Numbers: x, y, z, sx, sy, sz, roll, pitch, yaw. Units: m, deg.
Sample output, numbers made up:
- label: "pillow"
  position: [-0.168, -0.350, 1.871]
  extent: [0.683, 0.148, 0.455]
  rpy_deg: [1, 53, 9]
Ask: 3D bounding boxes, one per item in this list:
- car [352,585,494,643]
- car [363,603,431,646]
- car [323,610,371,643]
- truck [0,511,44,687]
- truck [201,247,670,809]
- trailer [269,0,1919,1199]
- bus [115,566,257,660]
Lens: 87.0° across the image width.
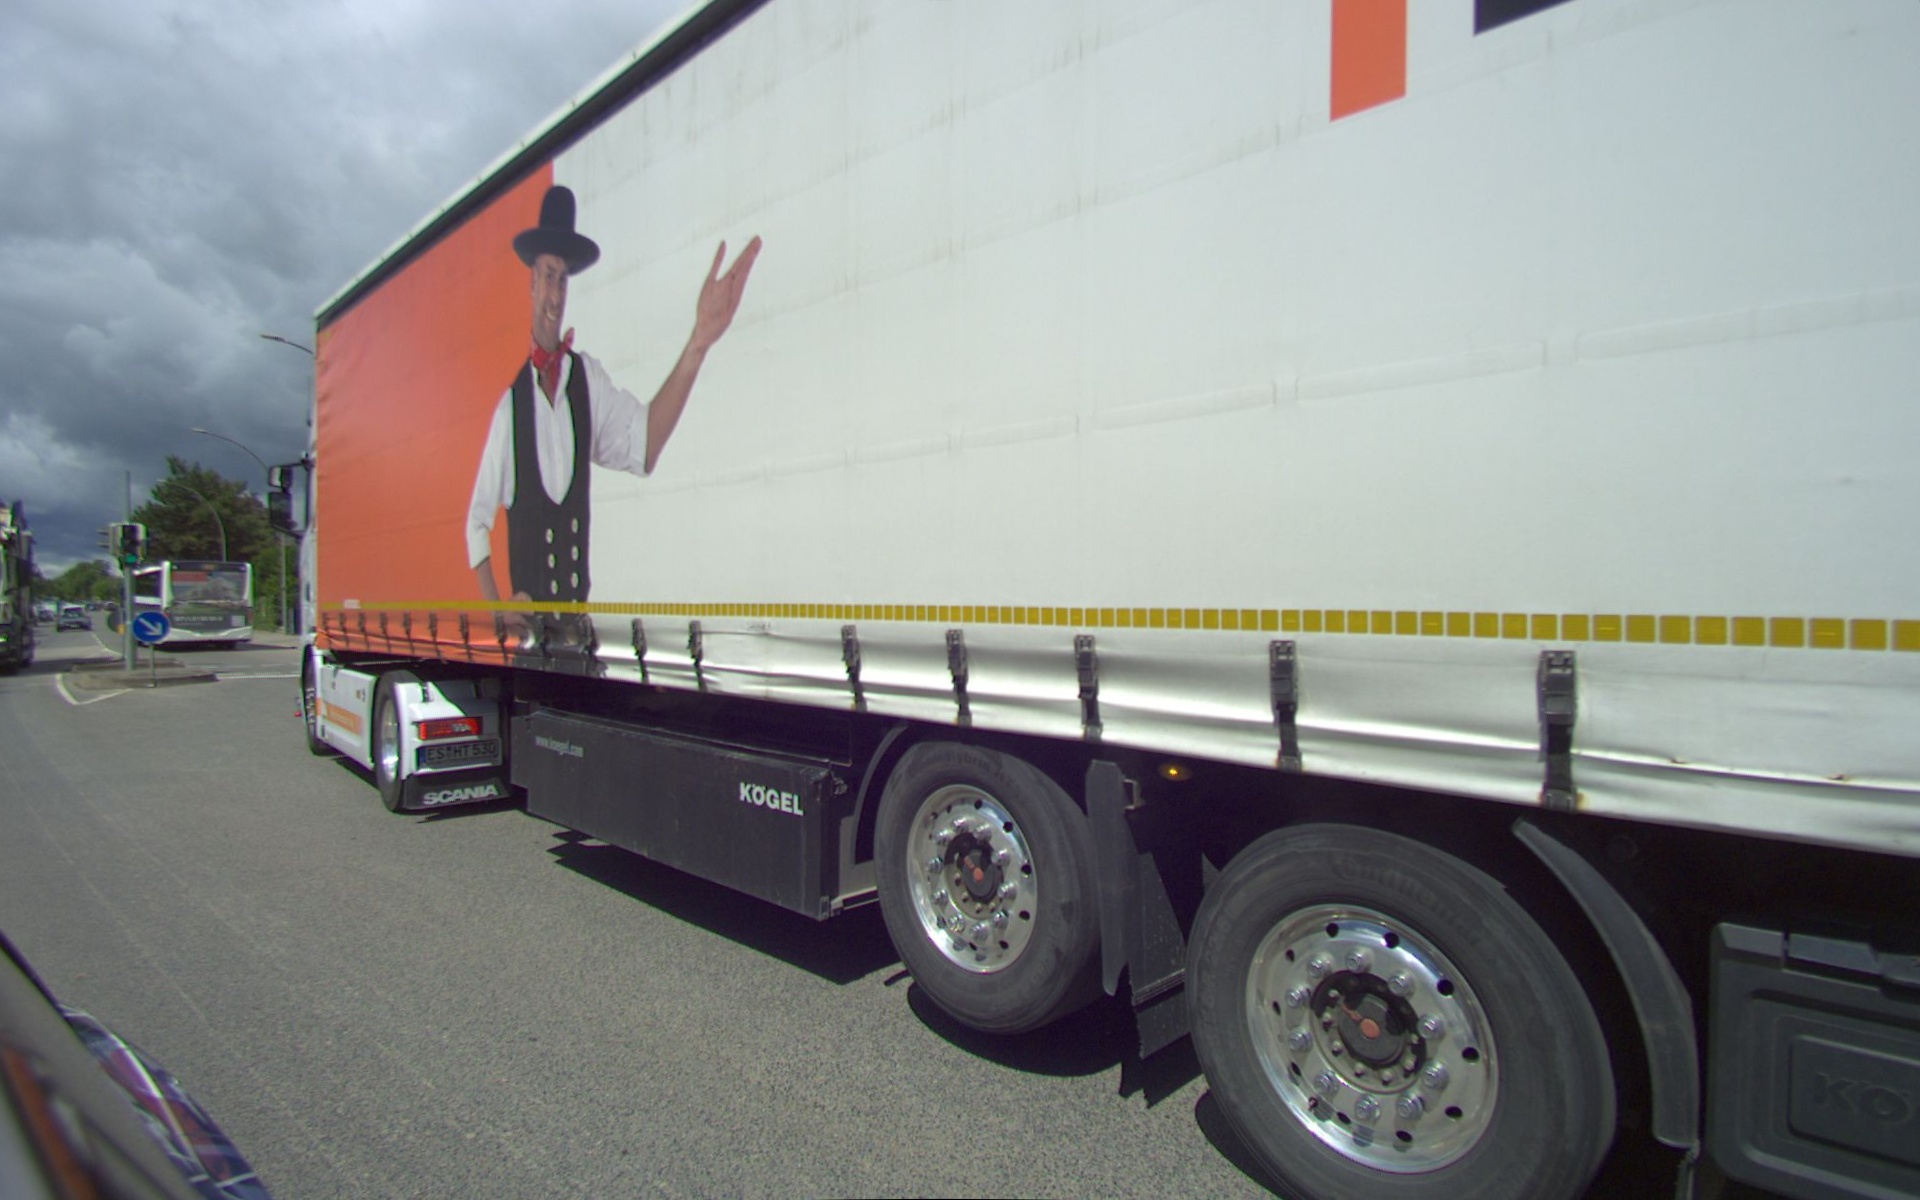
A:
- label: "car"
  position: [-24.008, 0.580, 45.342]
  extent: [5.282, 2.402, 2.108]
  rpy_deg: [-1, 0, -38]
- label: "car"
  position: [-22.927, 0.945, 41.177]
  extent: [1.786, 1.633, 3.627]
  rpy_deg: [-1, 0, -40]
- label: "car"
  position: [-30.066, 1.245, 49.589]
  extent: [1.858, 1.470, 4.362]
  rpy_deg: [-2, 1, -32]
- label: "truck"
  position: [-24.795, 0.025, 25.061]
  extent: [2.625, 3.840, 9.832]
  rpy_deg: [-1, 0, -40]
- label: "truck"
  position: [-5.470, -0.534, 10.220]
  extent: [4.988, 4.150, 2.740]
  rpy_deg: [-1, 0, 44]
- label: "trailer"
  position: [0.559, -0.674, 4.234]
  extent: [15.357, 4.176, 2.740]
  rpy_deg: [-1, 0, 45]
- label: "bus"
  position: [-29.621, 0.463, 38.407]
  extent: [12.272, 3.054, 2.688]
  rpy_deg: [0, -1, 45]
